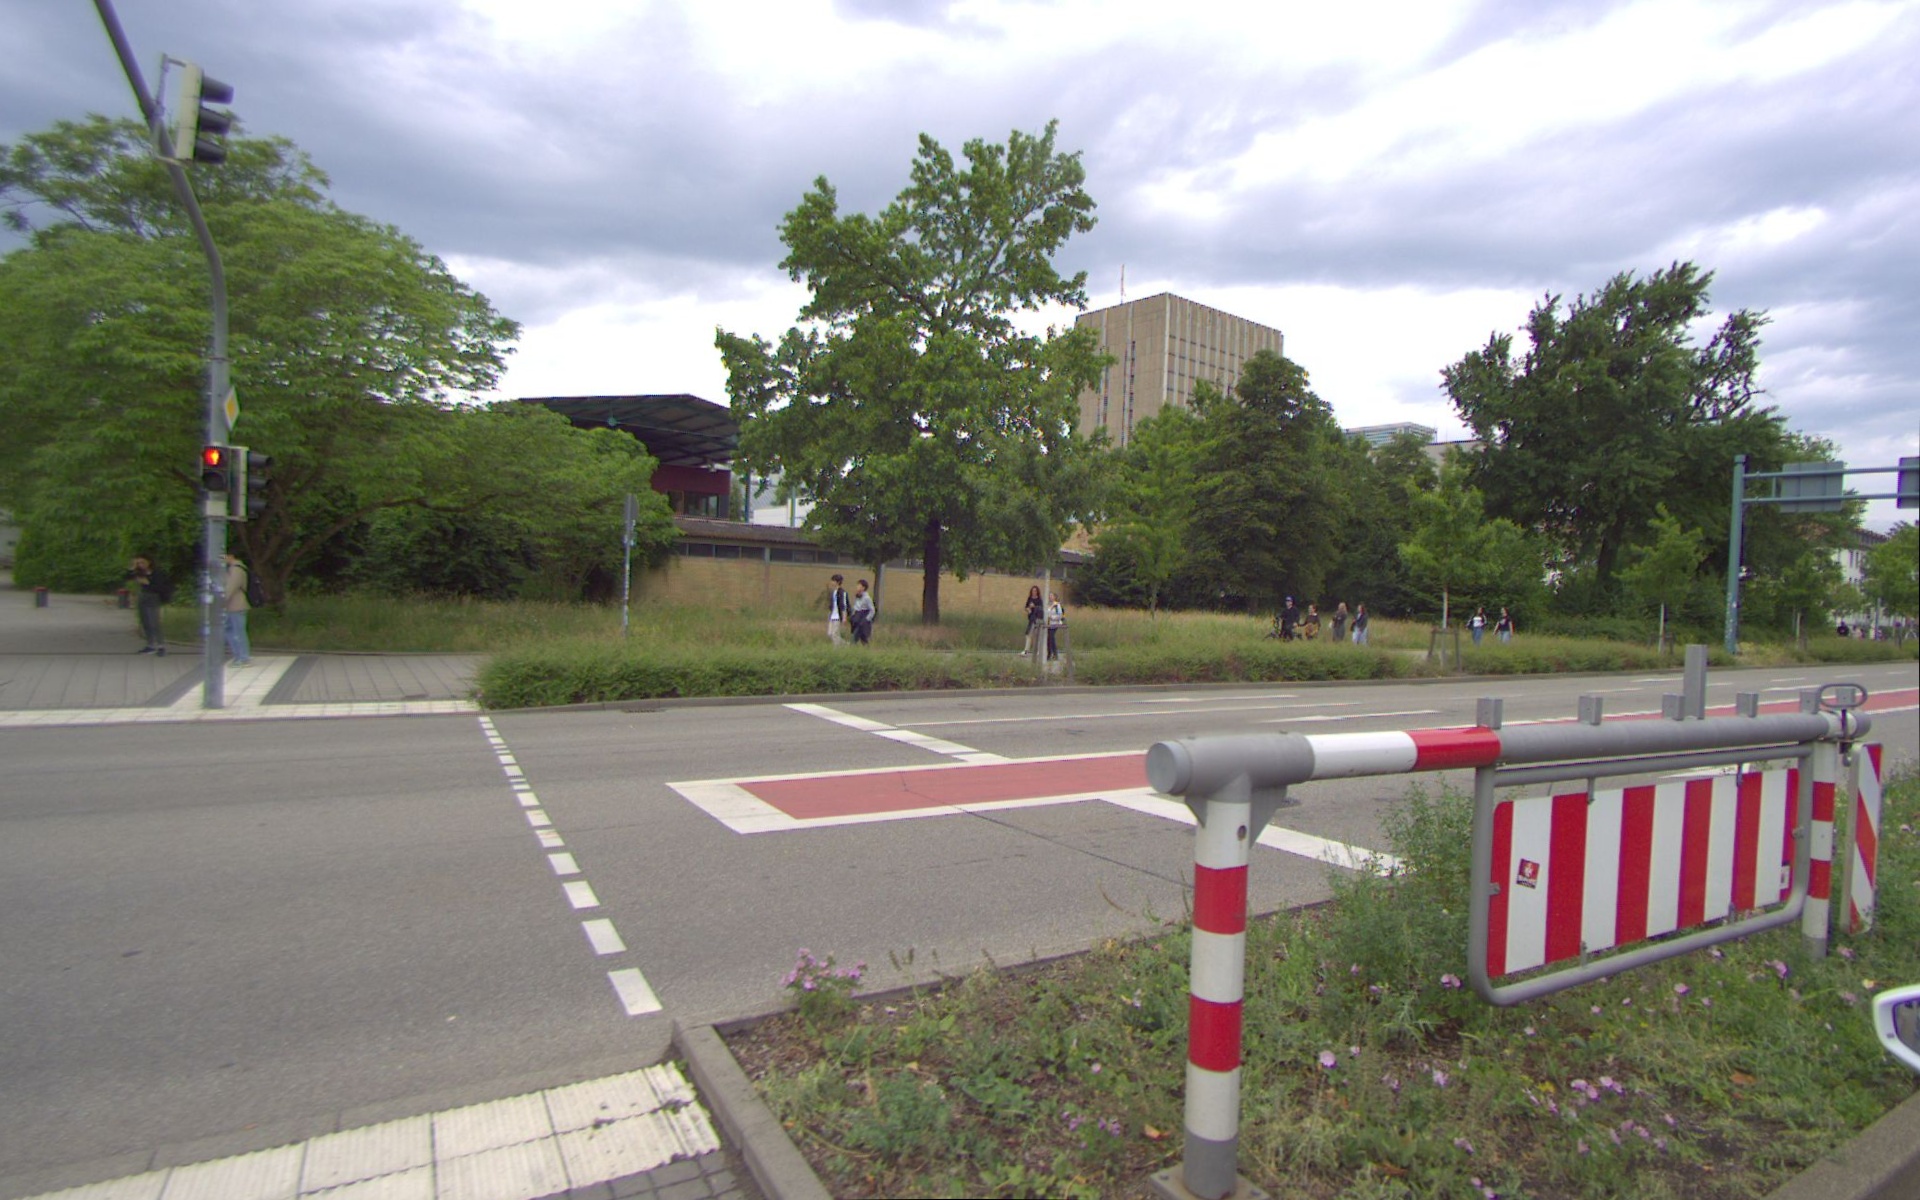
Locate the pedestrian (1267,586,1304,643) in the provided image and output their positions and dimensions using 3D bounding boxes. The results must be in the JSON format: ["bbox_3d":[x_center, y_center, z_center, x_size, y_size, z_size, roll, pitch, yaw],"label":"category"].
[{"bbox_3d":[9.465,0.421,29.237,0.752,1.653,0.660,1,0,-20],"label":"pedestrian"}]

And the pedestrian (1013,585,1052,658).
[{"bbox_3d":[1.760,0.522,24.440,0.752,1.734,0.576,1,0,-29],"label":"pedestrian"}]

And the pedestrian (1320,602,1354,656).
[{"bbox_3d":[12.049,0.918,32.097,0.761,1.695,0.700,1,0,-40],"label":"pedestrian"}]

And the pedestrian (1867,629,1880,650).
[{"bbox_3d":[71.752,3.099,78.869,0.562,1.546,0.847,3,-4,32],"label":"pedestrian"}]

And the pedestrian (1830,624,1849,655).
[{"bbox_3d":[51.188,2.286,58.453,0.810,1.752,0.616,1,0,-35],"label":"pedestrian"}]

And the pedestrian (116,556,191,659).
[{"bbox_3d":[-13.387,0.117,16.678,0.624,1.634,0.828,4,3,34],"label":"pedestrian"}]

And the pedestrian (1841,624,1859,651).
[{"bbox_3d":[55.059,2.317,62.113,0.665,1.658,0.695,1,0,-35],"label":"pedestrian"}]

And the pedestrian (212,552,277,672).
[{"bbox_3d":[-11.192,0.185,15.732,0.753,1.825,0.634,1,1,-31],"label":"pedestrian"}]

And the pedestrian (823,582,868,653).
[{"bbox_3d":[-2.466,0.378,21.600,0.753,1.499,0.632,1,0,-31],"label":"pedestrian"}]

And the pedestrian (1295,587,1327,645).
[{"bbox_3d":[10.047,0.448,28.742,0.607,1.630,0.574,1,0,-19],"label":"pedestrian"}]

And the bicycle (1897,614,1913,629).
[{"bbox_3d":[74.430,1.706,79.148,0.657,1.076,1.613,5,1,36],"label":"bicycle"}]

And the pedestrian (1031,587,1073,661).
[{"bbox_3d":[2.196,0.572,23.960,0.738,1.718,0.618,1,0,-31],"label":"pedestrian"}]

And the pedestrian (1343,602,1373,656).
[{"bbox_3d":[12.489,0.907,31.532,0.714,1.682,0.580,1,0,-41],"label":"pedestrian"}]

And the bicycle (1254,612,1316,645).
[{"bbox_3d":[9.458,0.829,29.236,1.689,0.899,0.660,1,0,-20],"label":"bicycle"}]

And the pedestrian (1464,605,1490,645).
[{"bbox_3d":[18.462,0.883,35.874,0.638,1.381,0.677,1,0,43],"label":"pedestrian"}]

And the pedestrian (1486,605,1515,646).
[{"bbox_3d":[18.809,0.882,34.946,0.704,1.376,0.640,1,0,-35],"label":"pedestrian"}]

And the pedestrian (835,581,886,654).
[{"bbox_3d":[-2.081,0.367,20.997,0.804,1.499,0.725,1,0,-31],"label":"pedestrian"}]
